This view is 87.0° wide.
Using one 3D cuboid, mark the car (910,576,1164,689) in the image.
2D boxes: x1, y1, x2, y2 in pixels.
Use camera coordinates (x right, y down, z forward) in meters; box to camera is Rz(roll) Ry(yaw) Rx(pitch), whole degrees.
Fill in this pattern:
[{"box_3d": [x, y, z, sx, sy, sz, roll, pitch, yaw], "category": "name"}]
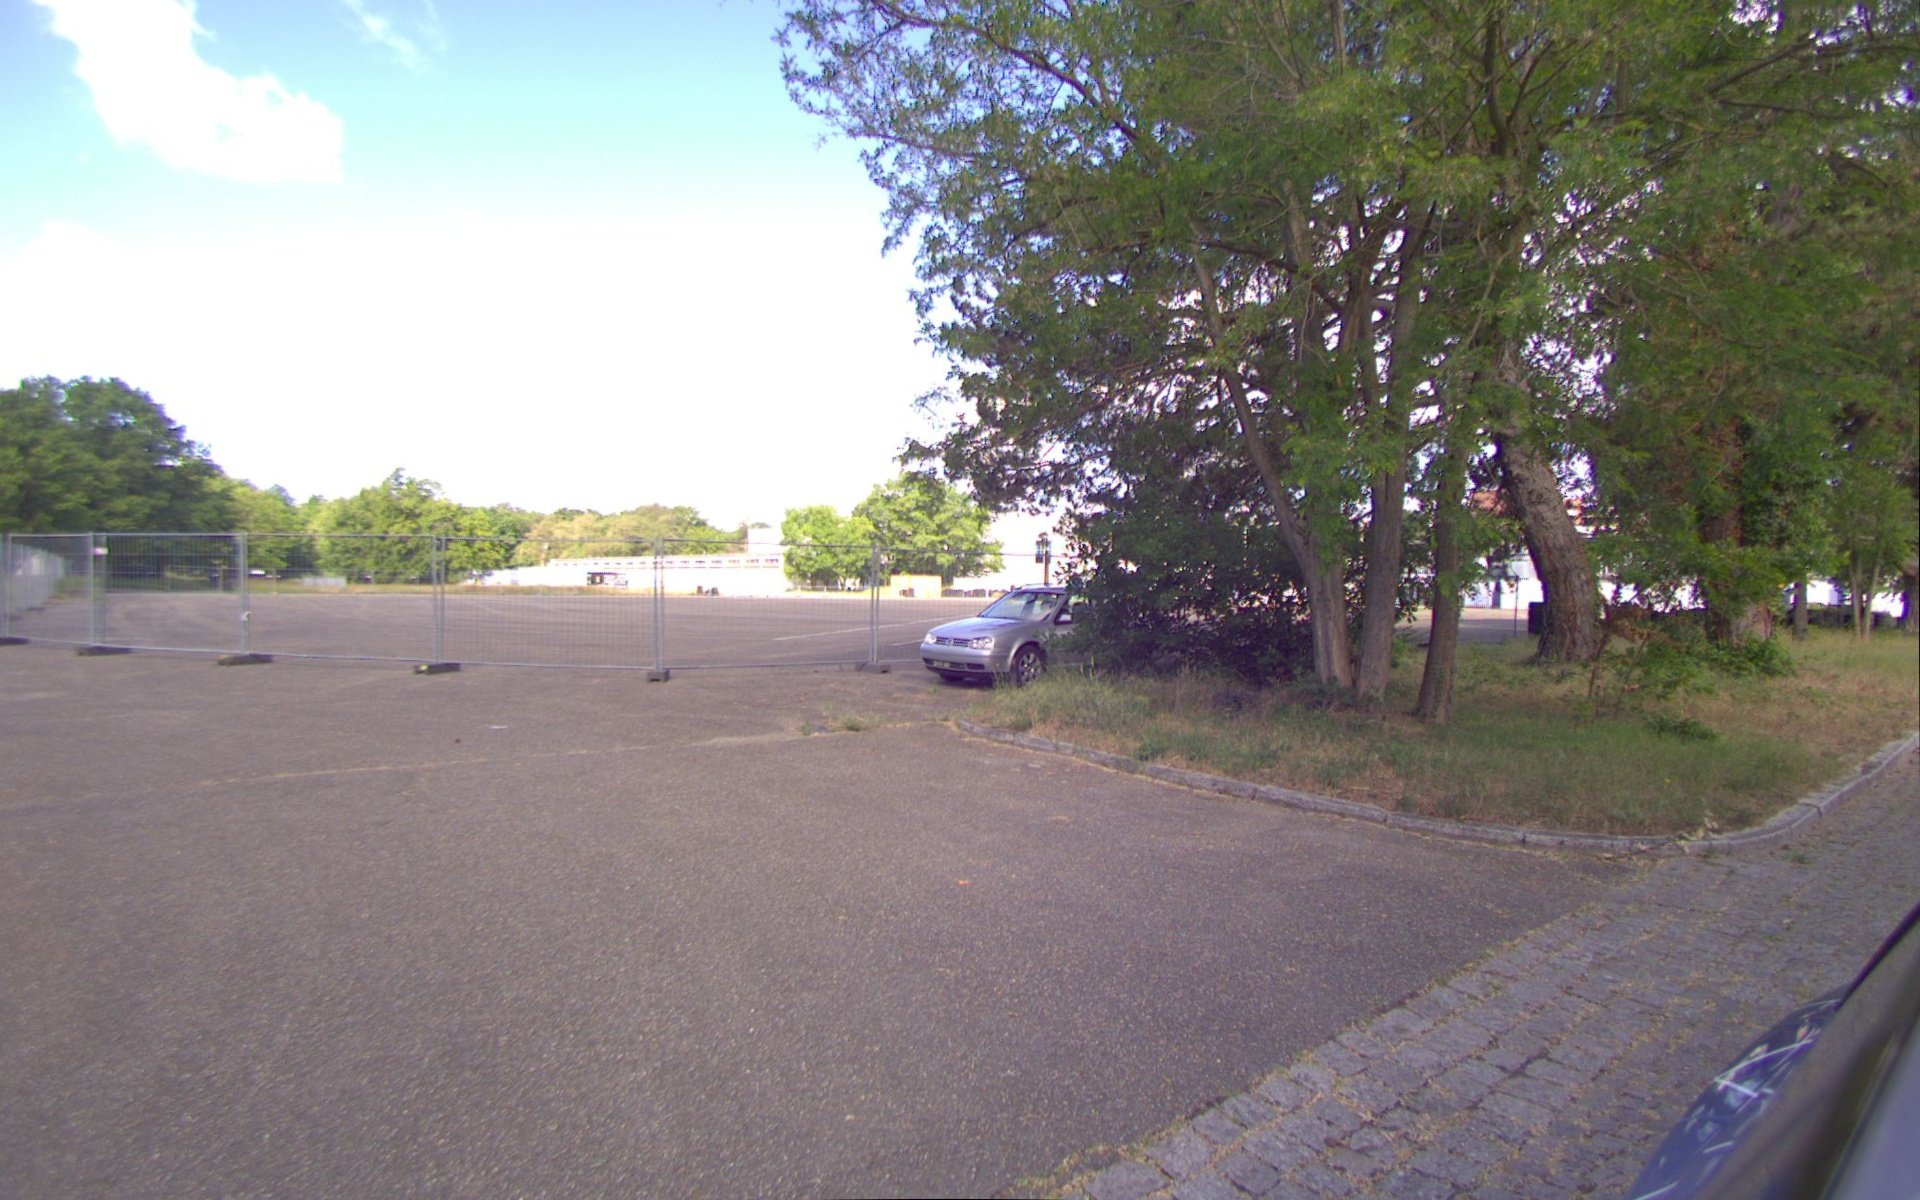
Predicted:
[{"box_3d": [1.247, 0.408, 15.159, 3.920, 1.462, 1.576, 0, 1, -44], "category": "car"}]
